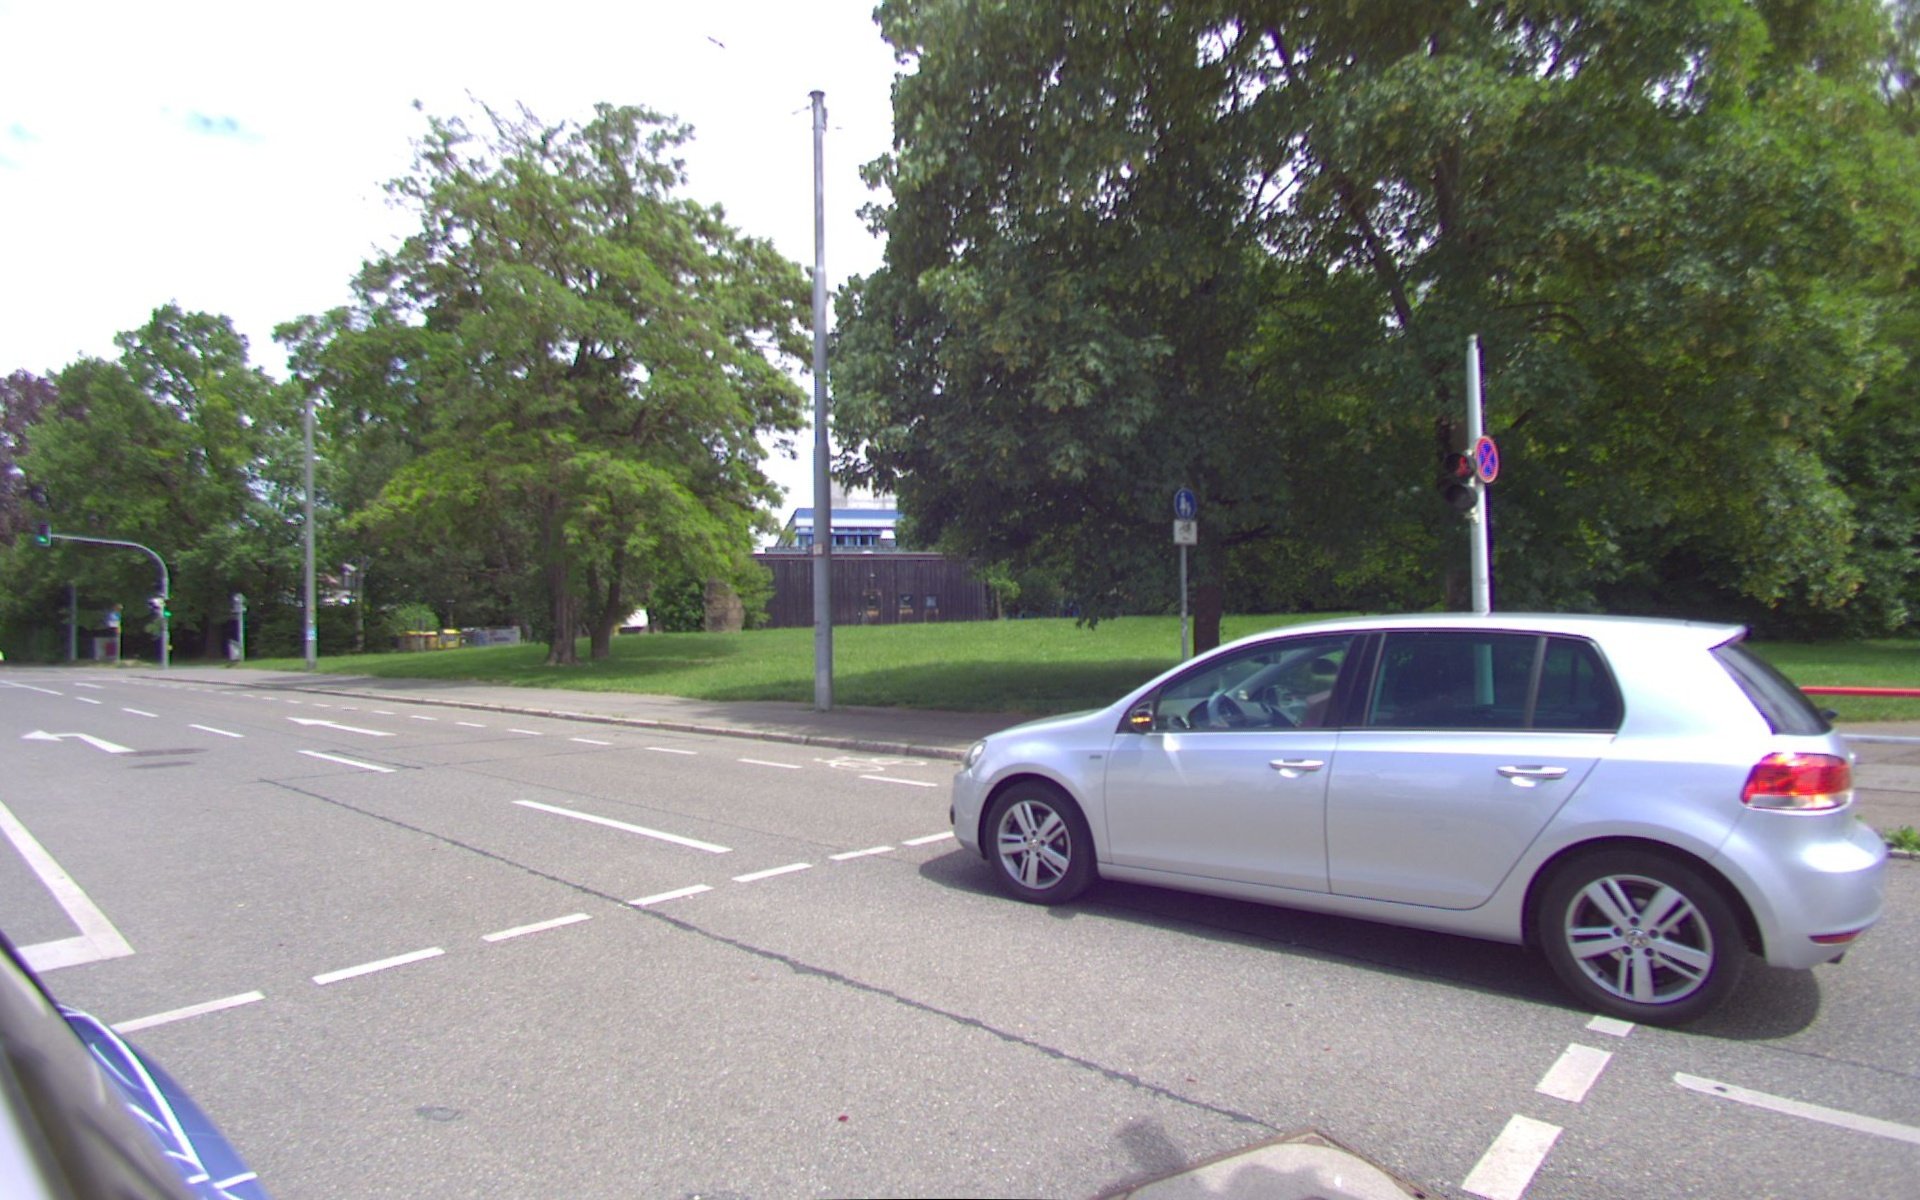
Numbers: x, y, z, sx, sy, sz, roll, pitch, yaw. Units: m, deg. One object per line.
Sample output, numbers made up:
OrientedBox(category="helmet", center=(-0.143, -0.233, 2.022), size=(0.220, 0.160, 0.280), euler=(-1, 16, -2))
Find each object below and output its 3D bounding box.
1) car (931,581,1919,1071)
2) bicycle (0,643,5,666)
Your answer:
OrientedBox(category="car", center=(1.945, 0.724, 4.872), size=(4.064, 1.469, 1.672), euler=(-1, -2, 39))
OrientedBox(category="bicycle", center=(-48.015, 2.719, 49.905), size=(1.792, 1.116, 0.806), euler=(-2, -1, 28))
